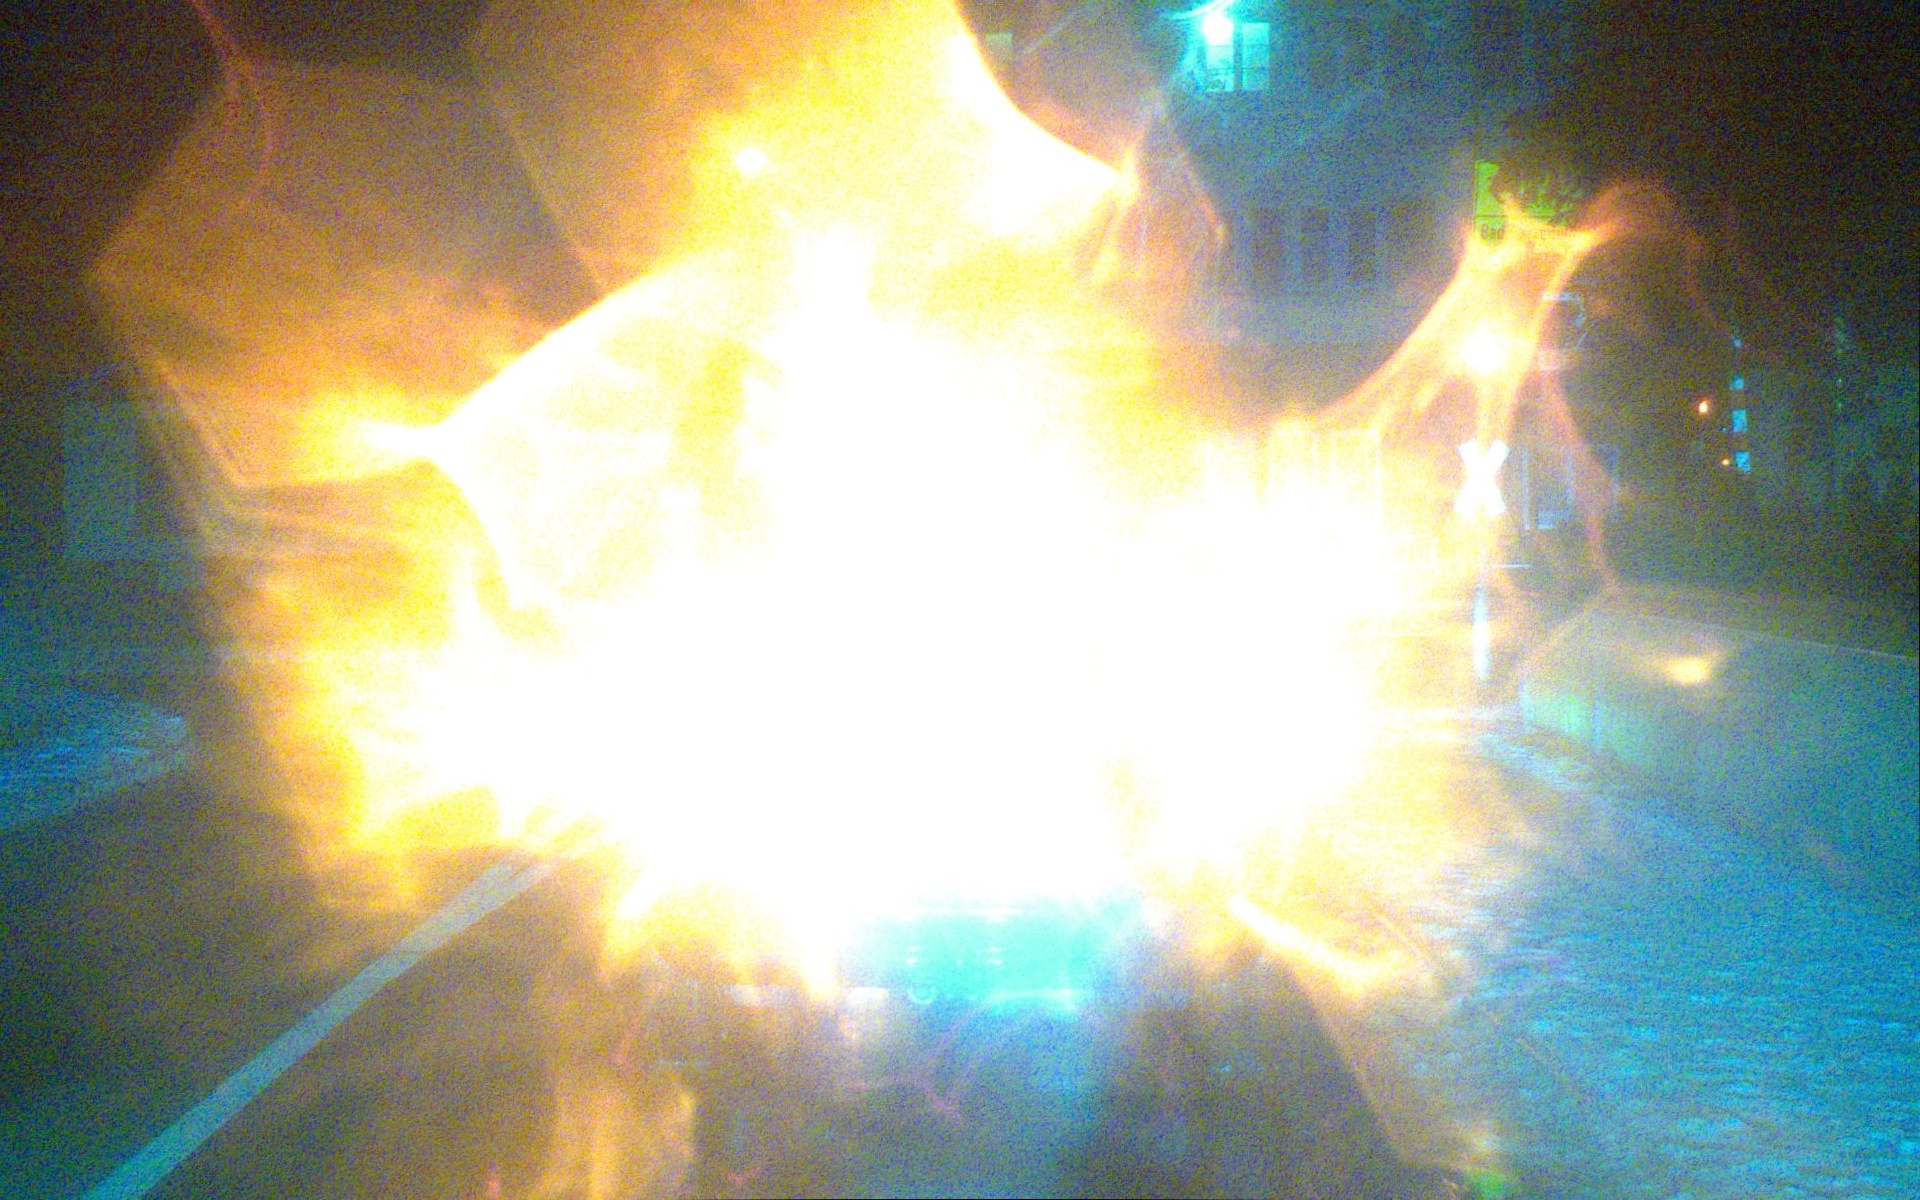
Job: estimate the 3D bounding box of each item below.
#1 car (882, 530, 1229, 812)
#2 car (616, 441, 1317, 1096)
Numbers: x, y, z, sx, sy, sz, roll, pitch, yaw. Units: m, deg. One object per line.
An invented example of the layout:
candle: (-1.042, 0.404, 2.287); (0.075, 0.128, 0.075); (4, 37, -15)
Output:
car: (0.614, 0.321, 19.341); (1.744, 1.410, 4.000); (0, 1, 4)
car: (0.073, 0.377, 10.762); (1.791, 1.675, 3.904); (0, 2, 2)
